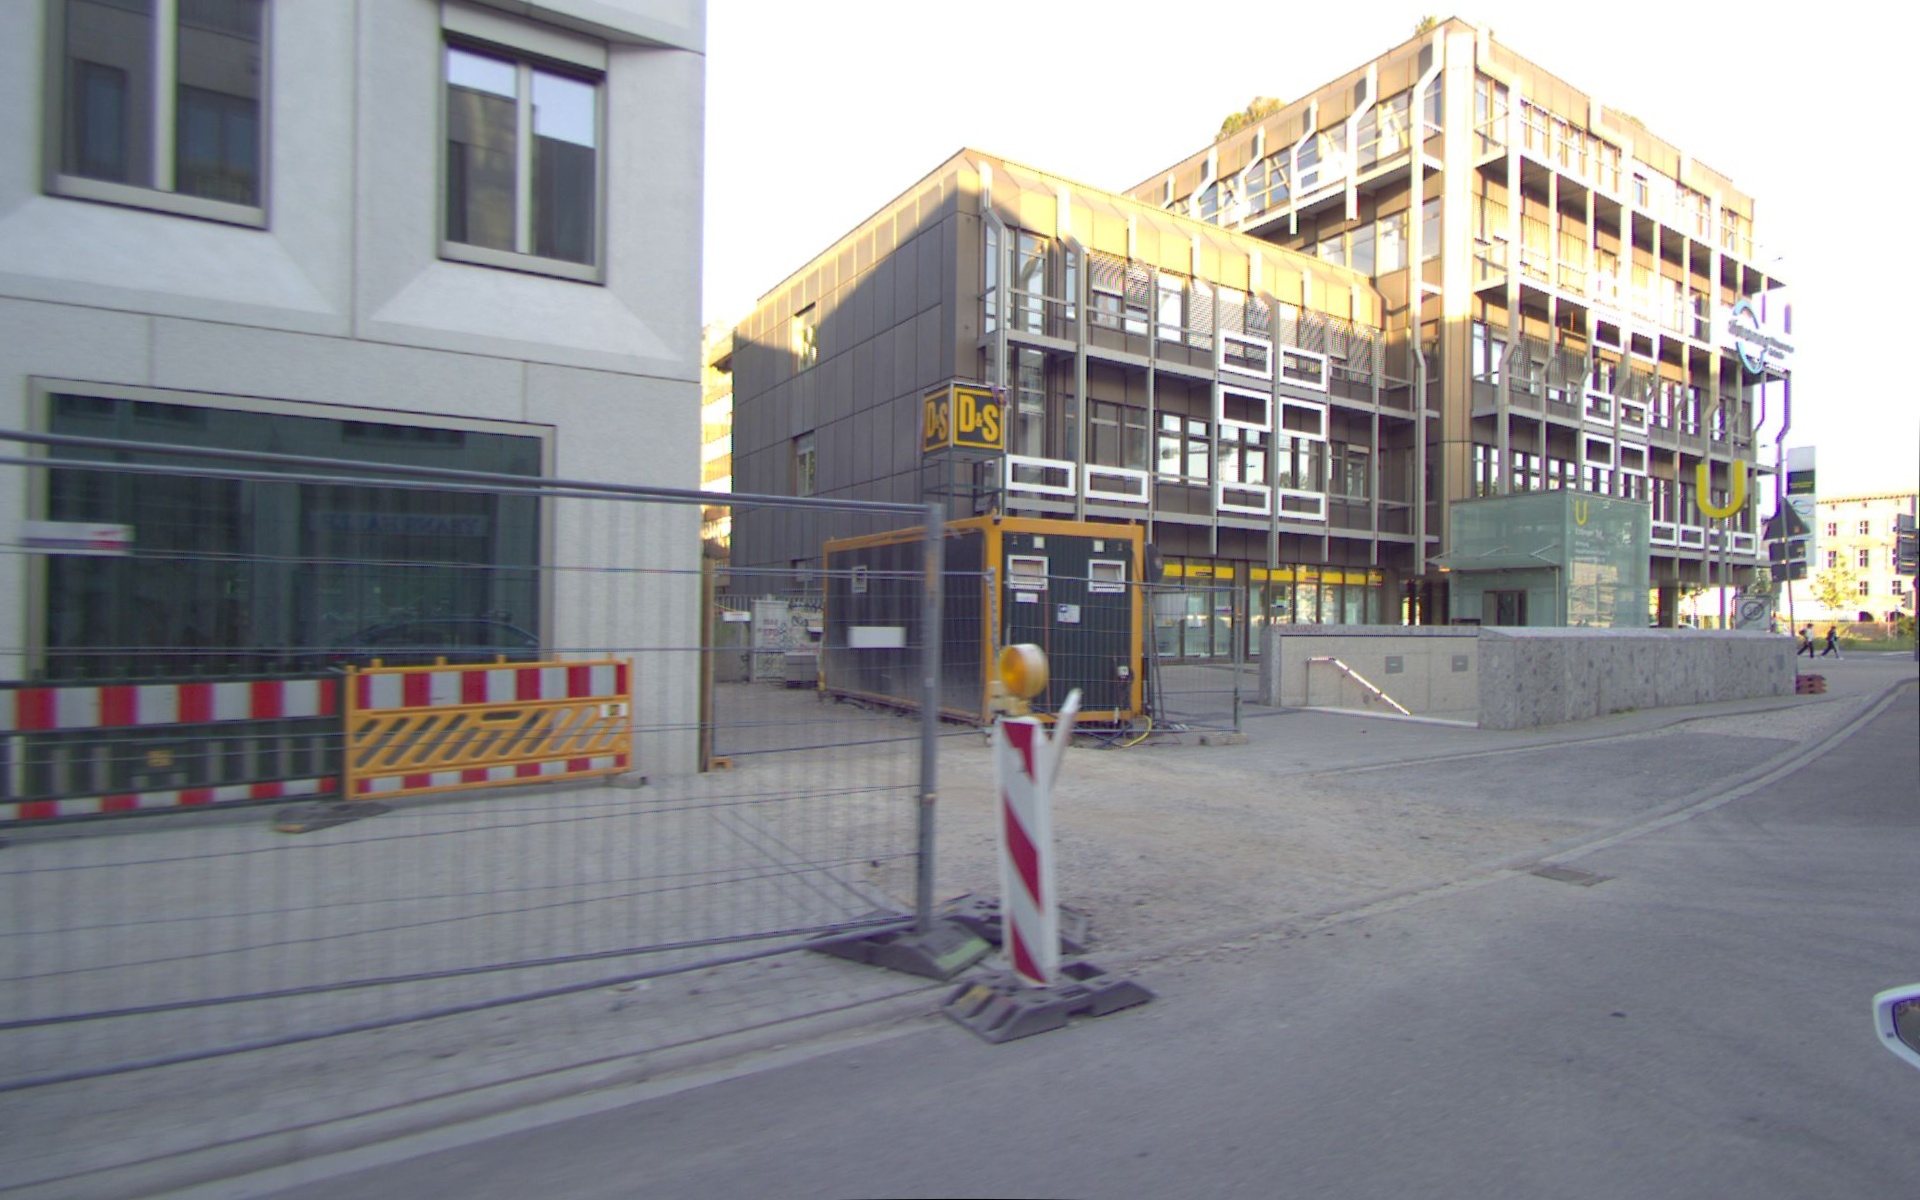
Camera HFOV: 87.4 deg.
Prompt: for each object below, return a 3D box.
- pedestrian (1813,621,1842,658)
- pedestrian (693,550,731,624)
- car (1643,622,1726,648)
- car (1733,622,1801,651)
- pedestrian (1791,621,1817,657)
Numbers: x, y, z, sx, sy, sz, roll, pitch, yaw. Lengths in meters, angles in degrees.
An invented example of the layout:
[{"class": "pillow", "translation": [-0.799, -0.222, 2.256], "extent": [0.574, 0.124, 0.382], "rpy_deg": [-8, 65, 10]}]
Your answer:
[{"class": "pedestrian", "translation": [42.566, 1.940, 49.282], "extent": [0.726, 1.800, 0.863], "rpy_deg": [-2, -3, 20]}, {"class": "pedestrian", "translation": [-7.019, -0.347, 28.415], "extent": [0.931, 2.040, 0.886], "rpy_deg": [1, -1, -22]}, {"class": "car", "translation": [47.666, 2.277, 66.130], "extent": [1.680, 1.613, 4.151], "rpy_deg": [1, -1, -36]}, {"class": "car", "translation": [49.935, 2.222, 62.170], "extent": [1.600, 1.707, 3.103], "rpy_deg": [1, -1, -42]}, {"class": "pedestrian", "translation": [42.113, 1.956, 50.133], "extent": [0.727, 1.800, 0.863], "rpy_deg": [-2, -3, 25]}]
